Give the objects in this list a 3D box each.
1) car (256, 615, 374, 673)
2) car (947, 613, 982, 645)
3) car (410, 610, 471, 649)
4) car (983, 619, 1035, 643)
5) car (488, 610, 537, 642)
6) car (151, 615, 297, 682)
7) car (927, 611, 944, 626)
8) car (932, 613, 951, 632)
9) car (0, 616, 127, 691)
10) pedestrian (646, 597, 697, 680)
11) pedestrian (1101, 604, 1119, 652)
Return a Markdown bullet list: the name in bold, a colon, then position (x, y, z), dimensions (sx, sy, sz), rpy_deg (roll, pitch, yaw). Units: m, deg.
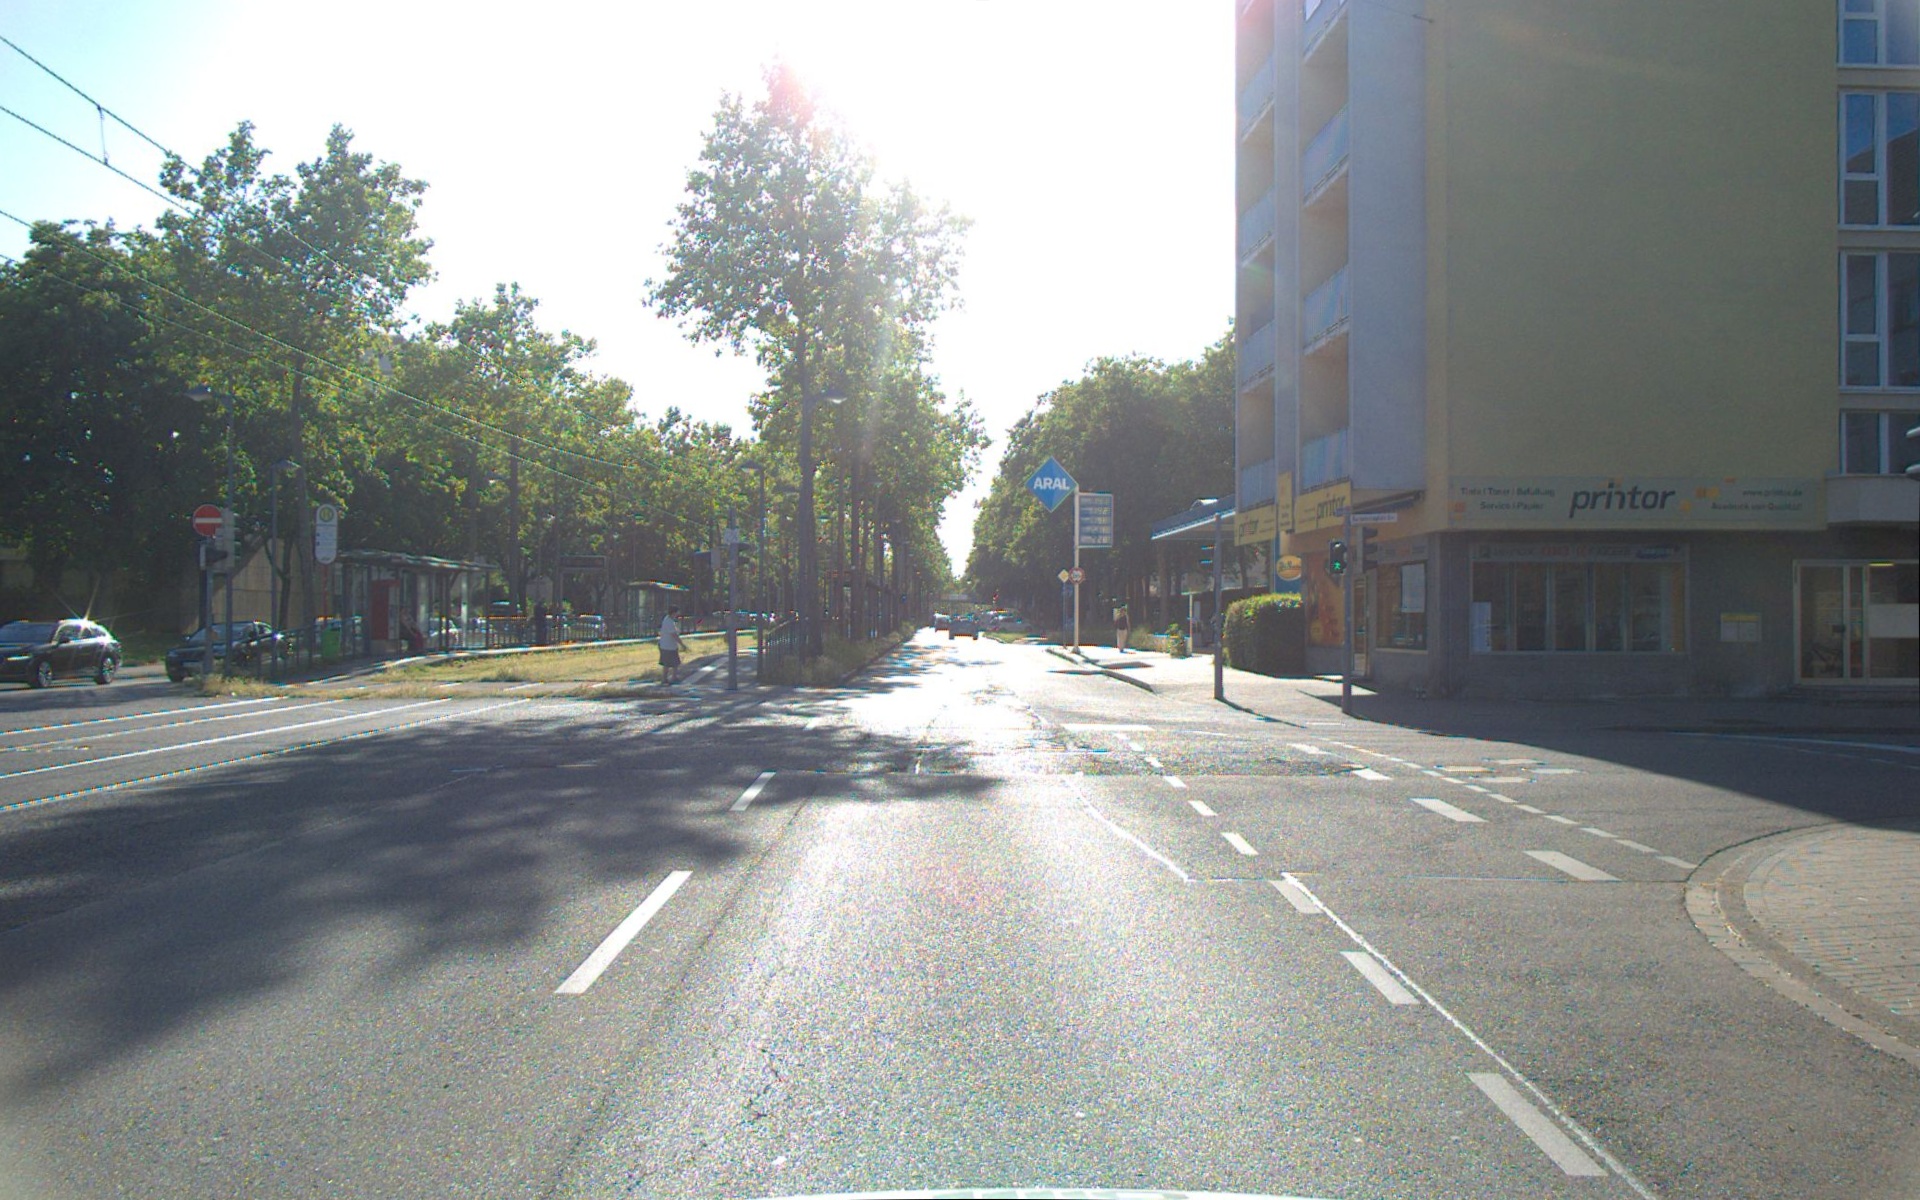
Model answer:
- **car**: position (-18.234, 1.203, 46.972), dimensions (1.653, 1.560, 4.360), rpy_deg (0, -1, 0)
- **car**: position (0.304, 1.792, 103.763), dimensions (1.963, 1.892, 4.001), rpy_deg (2, -1, 3)
- **car**: position (-22.776, 1.275, 72.635), dimensions (1.589, 1.591, 3.412), rpy_deg (3, -1, -1)
- **car**: position (4.011, 2.557, 135.836), dimensions (3.943, 1.780, 1.738), rpy_deg (3, -1, -29)
- **car**: position (-23.482, 1.362, 86.846), dimensions (1.589, 1.591, 3.412), rpy_deg (3, -1, -1)
- **car**: position (-18.059, 1.160, 40.785), dimensions (1.653, 1.560, 4.360), rpy_deg (0, -1, 0)
- **car**: position (-2.937, 2.224, 196.986), dimensions (1.856, 1.639, 4.498), rpy_deg (3, -1, -1)
- **car**: position (-1.660, 2.049, 151.649), dimensions (1.601, 1.576, 4.000), rpy_deg (2, -1, 1)
- **car**: position (-20.491, 1.143, 36.733), dimensions (1.770, 1.560, 4.360), rpy_deg (0, -1, 0)
- **pedestrian**: position (-5.894, 0.781, 33.849), dimensions (0.872, 1.634, 0.613), rpy_deg (2, -1, 0)
- **pedestrian**: position (5.748, 1.073, 63.410), dimensions (0.562, 1.778, 0.506), rpy_deg (2, -1, -1)
